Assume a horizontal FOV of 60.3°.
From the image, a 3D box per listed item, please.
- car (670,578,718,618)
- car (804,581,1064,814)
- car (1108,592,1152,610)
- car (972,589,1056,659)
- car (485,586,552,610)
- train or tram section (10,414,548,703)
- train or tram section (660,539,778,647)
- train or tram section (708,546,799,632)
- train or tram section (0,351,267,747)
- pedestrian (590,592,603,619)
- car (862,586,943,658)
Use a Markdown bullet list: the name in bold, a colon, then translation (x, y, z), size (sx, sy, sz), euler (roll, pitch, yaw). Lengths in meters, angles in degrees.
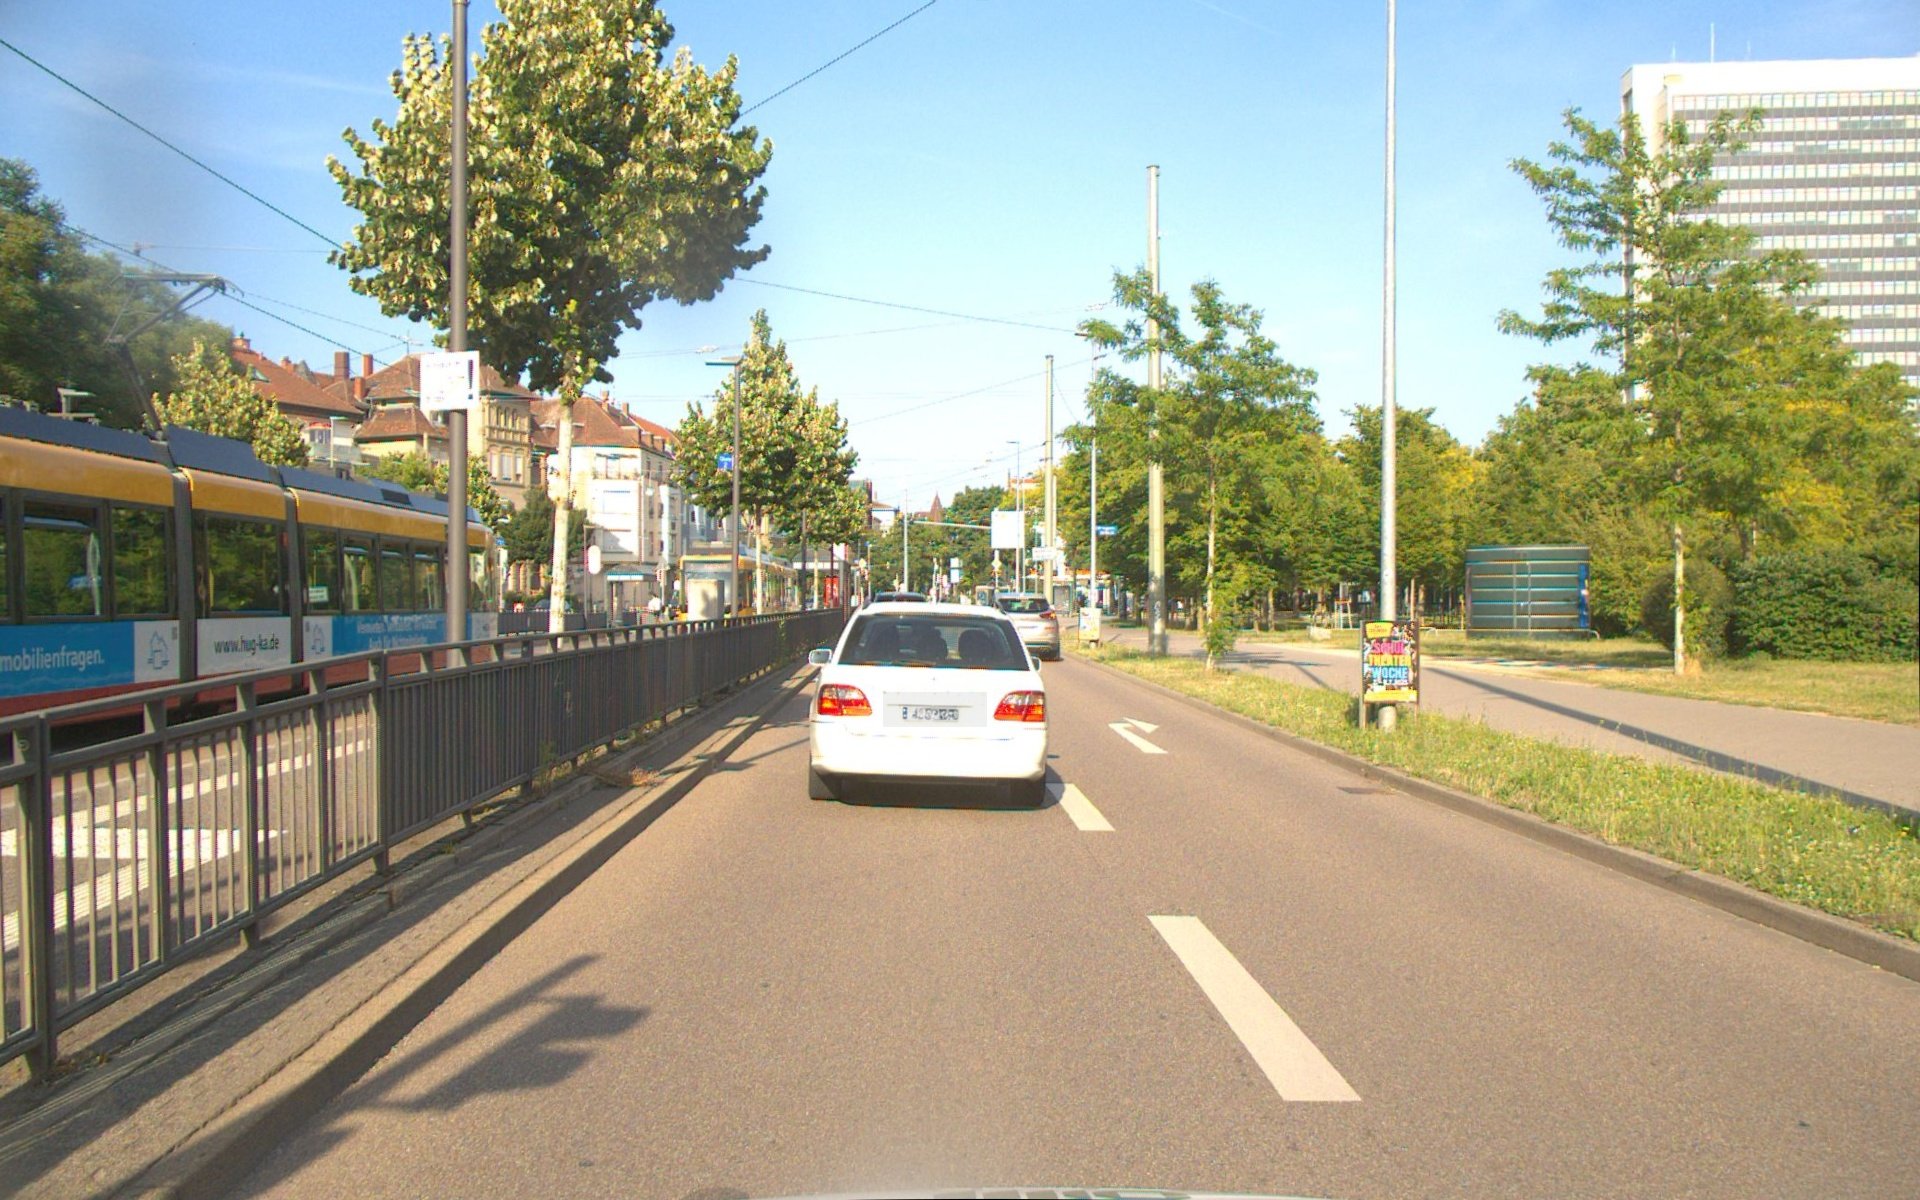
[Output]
- **car**: translation (-19.453, -0.161, 121.320), size (2.544, 2.783, 7.465), euler (1, 0, -3)
- **car**: translation (-0.104, 0.715, 13.164), size (1.722, 1.530, 4.000), euler (1, -2, 2)
- **car**: translation (16.671, 0.090, 162.503), size (3.906, 1.680, 1.999), euler (0, 0, 24)
- **car**: translation (1.357, 0.547, 41.214), size (1.991, 1.633, 4.001), euler (1, 0, 2)
- **car**: translation (-30.783, -0.144, 115.347), size (2.158, 1.656, 4.717), euler (1, 0, 21)
- **train or tram section**: translation (-10.227, -0.570, 27.714), size (3.097, 3.540, 14.470), euler (1, 0, 0)
- **train or tram section**: translation (-8.742, -0.318, 61.706), size (2.792, 3.540, 13.195), euler (1, 1, -2)
- **train or tram section**: translation (-9.146, -0.503, 74.723), size (2.792, 3.540, 13.195), euler (1, 0, -2)
- **train or tram section**: translation (-10.131, -0.461, 13.254), size (3.097, 3.540, 14.531), euler (1, 0, 0)
- **pedestrian**: translation (-24.137, 0.363, 109.760), size (0.651, 1.784, 0.746), euler (1, 0, 2)
- **car**: translation (-1.425, 0.525, 42.494), size (1.750, 1.719, 4.001), euler (1, 0, 2)
